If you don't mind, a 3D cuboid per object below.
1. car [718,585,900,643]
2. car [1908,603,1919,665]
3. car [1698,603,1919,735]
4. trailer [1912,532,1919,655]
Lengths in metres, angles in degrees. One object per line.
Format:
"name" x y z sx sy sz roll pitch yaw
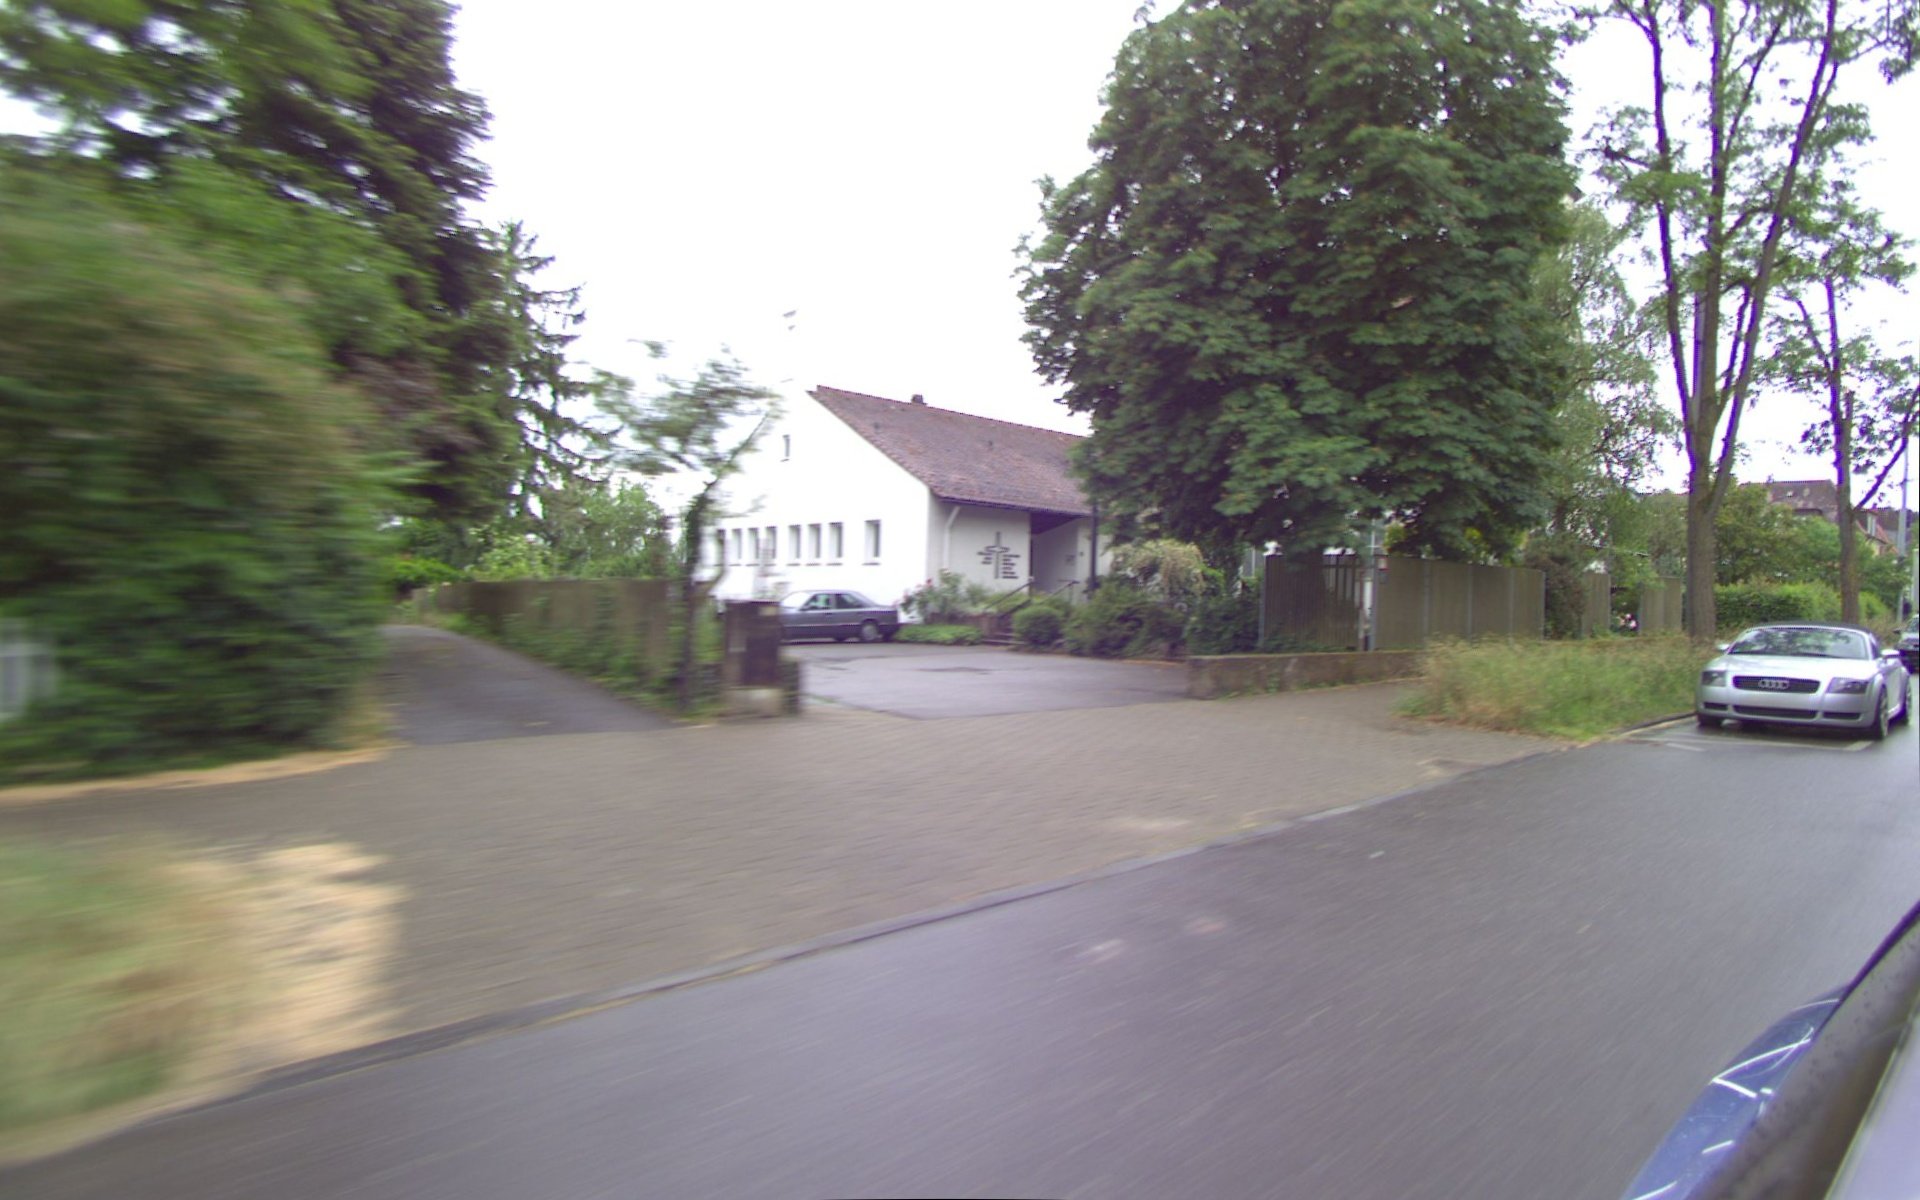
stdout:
"car" -3.854 0.368 26.261 4.441 1.393 1.619 1 -1 -37
"car" 24.917 0.838 25.114 3.930 1.483 1.643 1 -1 -41
"car" 10.933 0.759 12.817 3.931 1.413 1.784 1 -1 -42
"trailer" 31.609 -0.156 31.022 8.103 3.553 2.738 1 -1 -41
